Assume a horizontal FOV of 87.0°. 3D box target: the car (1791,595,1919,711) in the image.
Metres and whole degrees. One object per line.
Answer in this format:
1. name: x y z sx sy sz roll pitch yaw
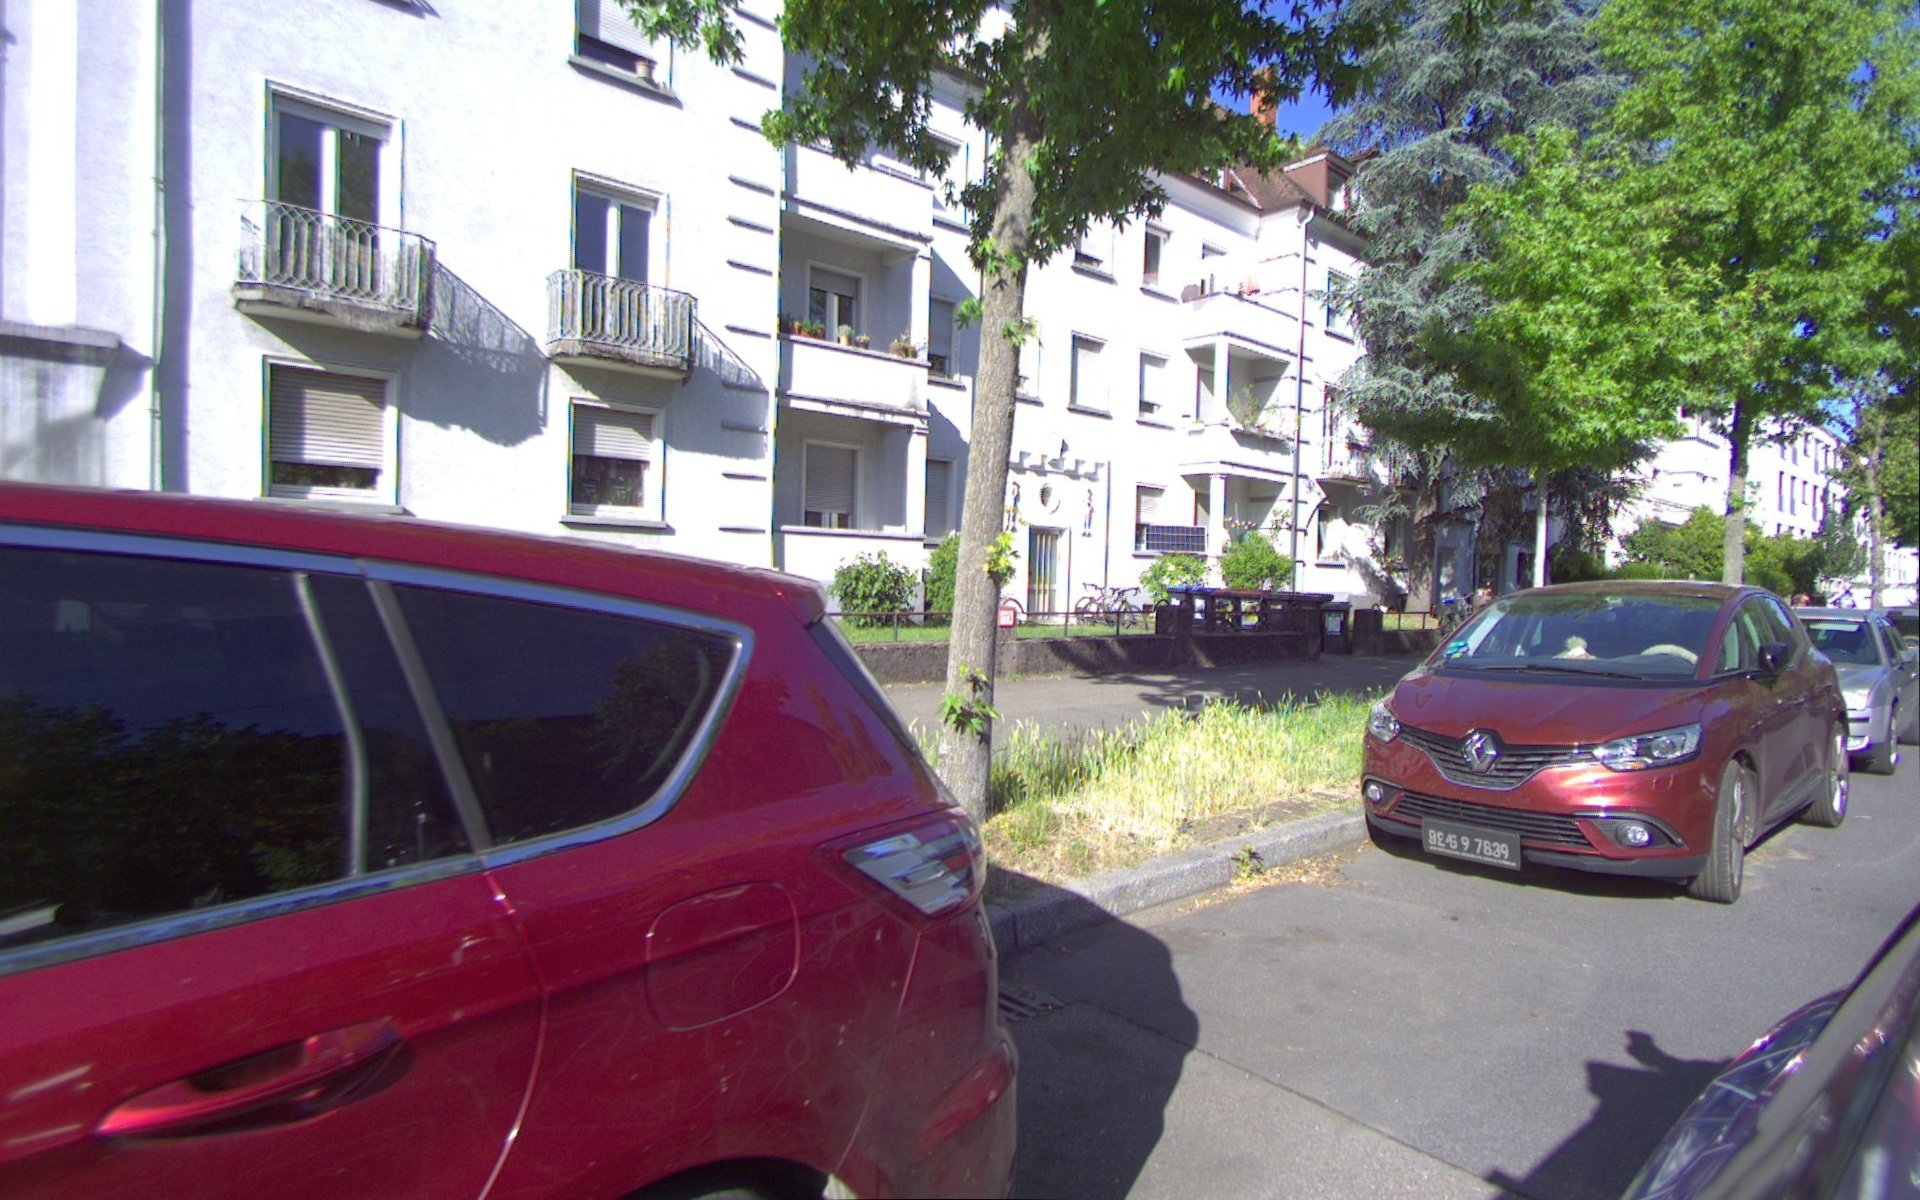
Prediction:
1. car: 13.097 0.658 14.080 3.631 1.415 1.767 -1 0 -40

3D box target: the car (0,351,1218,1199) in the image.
1. car: -2.004 0.603 1.051 4.884 1.633 1.903 -1 2 -40

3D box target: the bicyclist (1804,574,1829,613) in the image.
1. bicyclist: 30.383 -0.243 35.893 0.706 1.354 0.497 0 3 -41

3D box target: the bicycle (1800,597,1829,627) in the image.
1. bicycle: 30.229 0.413 35.785 1.756 0.973 0.459 -1 4 -41

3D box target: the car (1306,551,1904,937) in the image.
1. car: 4.341 0.551 6.497 4.513 1.586 1.935 -1 4 -40

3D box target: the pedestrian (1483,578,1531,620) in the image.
1. pedestrian: 15.249 -0.036 28.216 1.033 1.157 0.705 0 0 44

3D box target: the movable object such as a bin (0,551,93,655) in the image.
1. movable object such as a bin: -8.282 0.023 8.849 0.991 0.873 0.778 -1 0 -35

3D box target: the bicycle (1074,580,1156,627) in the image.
1. bicycle: 3.437 0.057 22.623 0.548 0.929 2.037 0 3 -35

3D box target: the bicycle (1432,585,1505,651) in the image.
1. bicycle: 9.771 0.322 19.417 2.138 1.212 0.489 -1 0 -42

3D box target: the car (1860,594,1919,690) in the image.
1. car: 16.586 0.649 17.172 3.806 1.482 1.607 -1 0 -43

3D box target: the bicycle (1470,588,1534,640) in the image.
1. bicycle: 11.439 0.285 21.338 2.211 1.025 0.432 -1 -3 -43

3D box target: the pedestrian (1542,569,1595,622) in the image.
1. pedestrian: 16.425 -0.133 27.353 1.021 1.395 0.713 2 2 15

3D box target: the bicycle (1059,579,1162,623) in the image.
1. bicycle: 2.879 0.026 19.537 0.615 0.779 2.064 -1 -2 -40

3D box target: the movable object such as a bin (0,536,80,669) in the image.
1. movable object such as a bin: -7.794 0.023 8.153 0.991 1.039 0.778 -1 0 -36

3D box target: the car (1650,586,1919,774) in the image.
1. car: 8.693 0.618 10.212 4.411 1.424 1.715 -1 3 -40

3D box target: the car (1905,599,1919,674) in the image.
1. car: 20.727 0.716 20.813 3.947 1.442 1.607 -1 0 -43
